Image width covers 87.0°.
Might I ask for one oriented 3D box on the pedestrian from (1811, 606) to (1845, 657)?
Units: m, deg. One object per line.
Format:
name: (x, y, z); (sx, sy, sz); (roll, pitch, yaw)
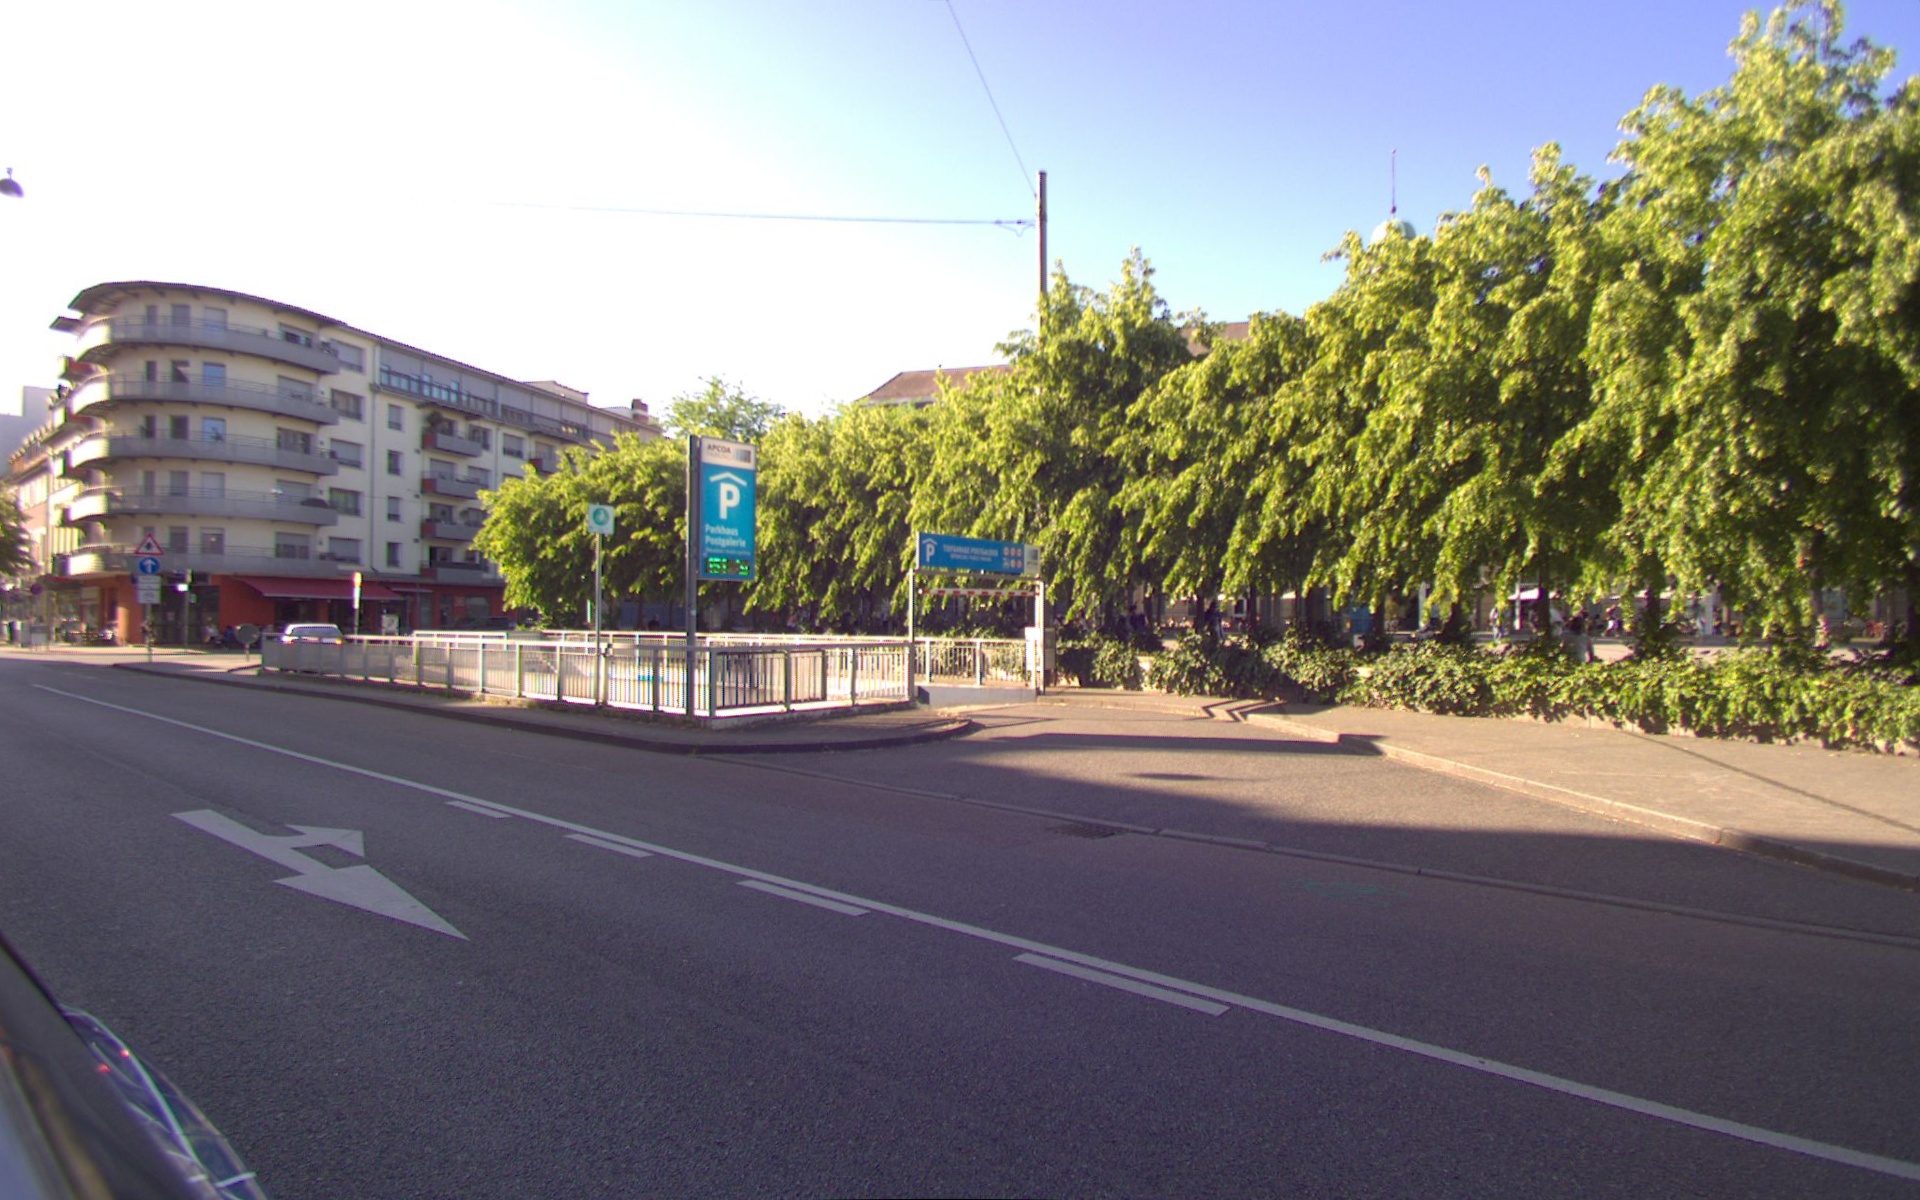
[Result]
pedestrian: (29.607, 1.061, 34.526); (0.640, 1.734, 0.606); (-1, 0, 13)

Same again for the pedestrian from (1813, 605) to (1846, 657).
pedestrian: (29.788, 1.059, 34.669); (0.641, 1.734, 0.605); (-1, 0, 18)

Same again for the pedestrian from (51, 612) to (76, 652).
pedestrian: (-46.712, 1.669, 52.738); (0.888, 2.029, 0.850); (-1, 0, 40)

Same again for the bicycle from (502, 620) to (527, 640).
bicycle: (-27.868, 1.866, 63.260); (0.523, 1.179, 1.584); (-1, 0, 17)

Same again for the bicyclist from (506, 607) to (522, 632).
bicyclist: (-27.867, 1.198, 63.264); (0.521, 1.559, 0.794); (-1, 0, 18)

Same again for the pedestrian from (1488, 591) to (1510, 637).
pedestrian: (20.771, 0.535, 38.993); (0.643, 1.734, 0.604); (-1, 0, 22)

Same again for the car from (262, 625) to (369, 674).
car: (-20.105, 1.520, 31.485); (4.266, 1.363, 1.798); (0, -3, 44)

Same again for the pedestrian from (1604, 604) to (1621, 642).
pedestrian: (34.294, 1.214, 53.203); (0.676, 1.963, 0.632); (-1, 0, 38)

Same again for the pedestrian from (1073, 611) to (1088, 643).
pedestrian: (6.557, 1.457, 55.085); (0.606, 1.734, 0.640); (-1, 0, 31)

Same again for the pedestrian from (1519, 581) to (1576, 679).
pedestrian: (10.189, 0.505, 17.562); (0.645, 1.661, 0.626); (-1, 0, -35)

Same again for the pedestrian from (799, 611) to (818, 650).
pedestrian: (-6.817, 1.347, 45.547); (0.604, 1.734, 0.642); (-1, 0, 21)

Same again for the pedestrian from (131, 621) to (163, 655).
pedestrian: (-39.069, 1.824, 48.636); (0.877, 1.607, 0.861); (-1, 0, 2)

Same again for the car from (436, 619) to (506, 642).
car: (-30.495, 1.884, 63.208); (1.742, 1.311, 3.977); (-1, -1, 17)

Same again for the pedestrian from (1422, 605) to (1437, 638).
pedestrian: (24.330, 1.112, 52.440); (0.643, 1.734, 0.603); (-1, 0, 26)

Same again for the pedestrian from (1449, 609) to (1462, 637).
pedestrian: (30.542, 1.426, 62.356); (0.642, 1.734, 0.604); (-1, 0, 20)
